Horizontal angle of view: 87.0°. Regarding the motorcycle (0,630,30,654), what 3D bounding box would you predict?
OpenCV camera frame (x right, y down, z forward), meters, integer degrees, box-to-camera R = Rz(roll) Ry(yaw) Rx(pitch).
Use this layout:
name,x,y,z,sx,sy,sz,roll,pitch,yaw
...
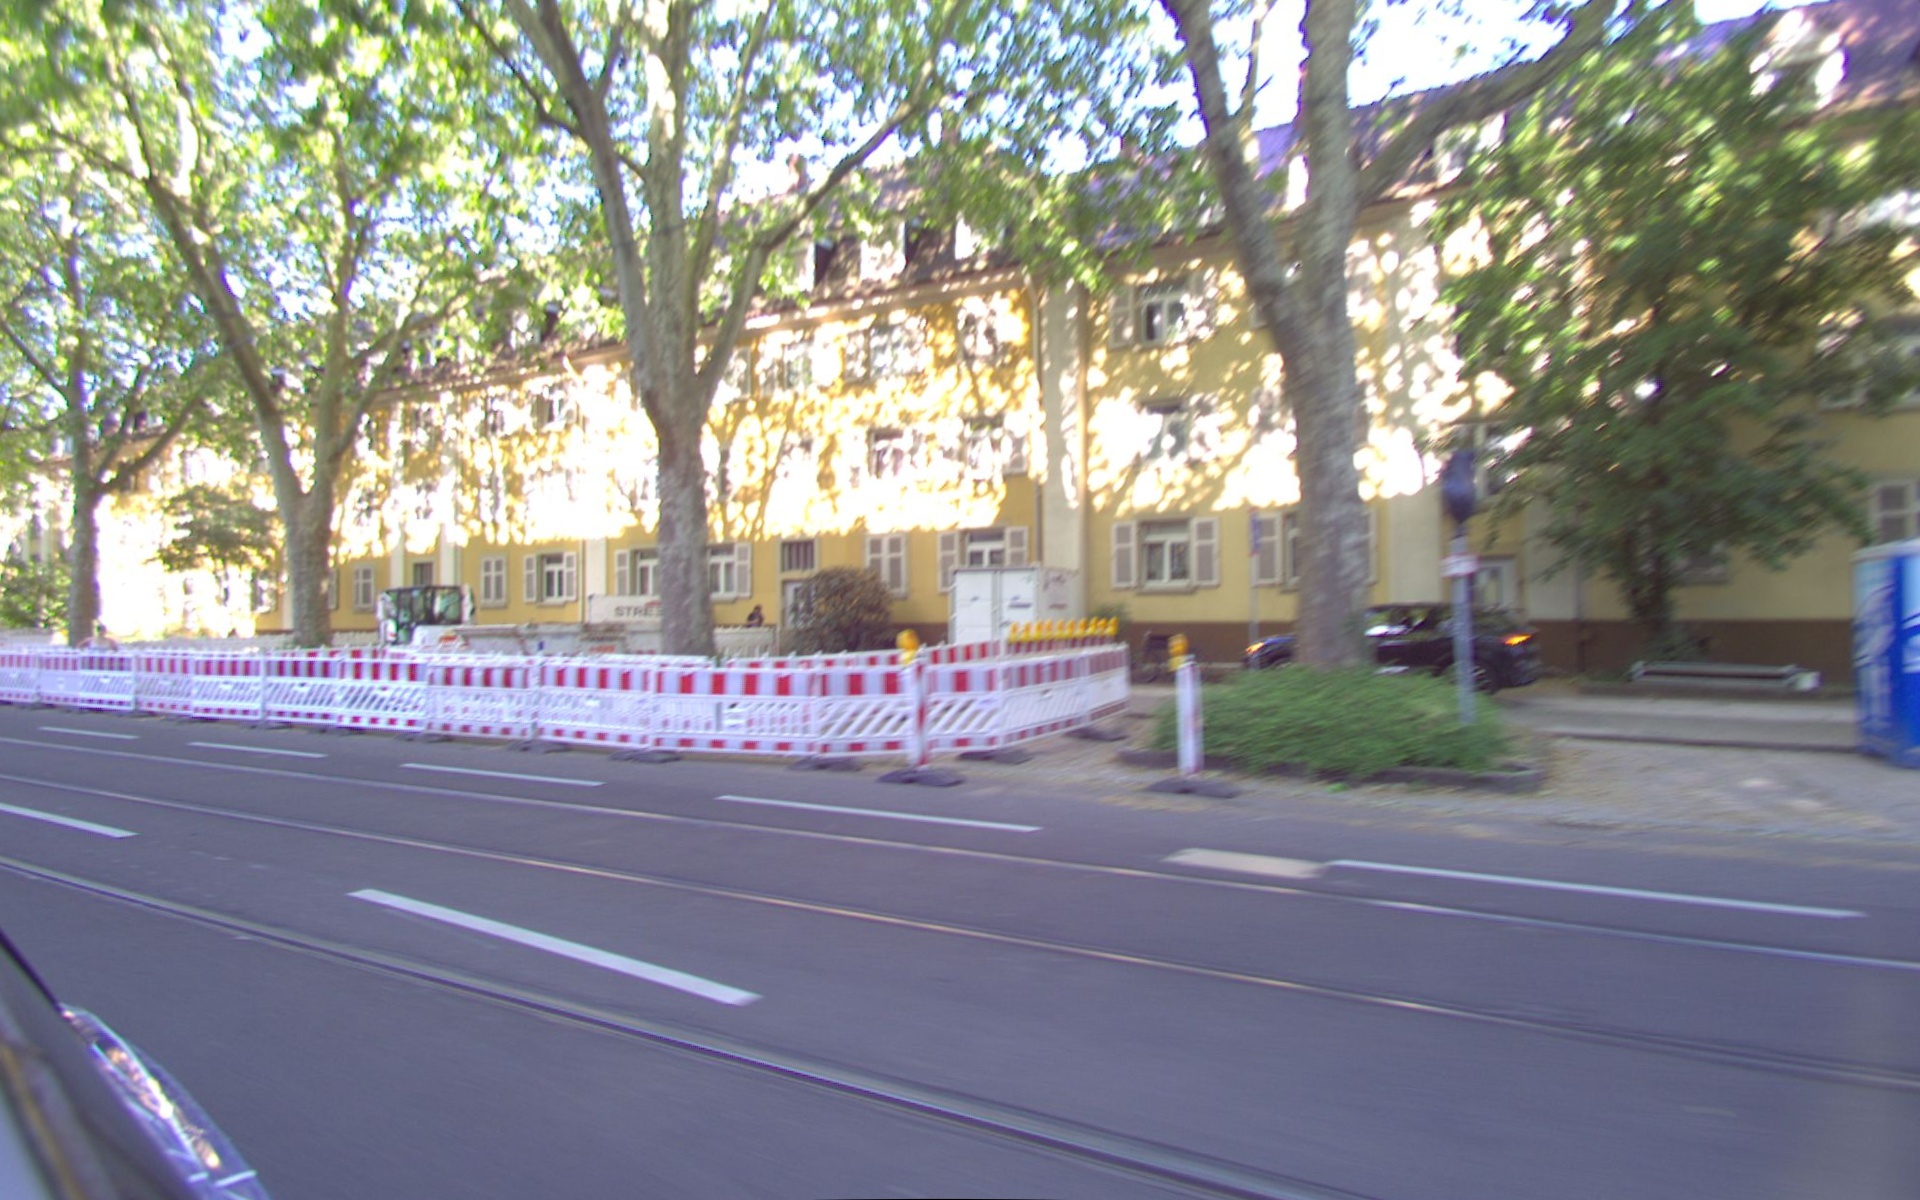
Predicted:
name,x,y,z,sx,sy,sz,roll,pitch,yaw
motorcycle,-49.328,2.164,52.334,0.521,1.250,1.698,-2,-2,30

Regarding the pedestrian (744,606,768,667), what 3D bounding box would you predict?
name,x,y,z,sx,sy,sz,roll,pitch,yaw
pedestrian,-5.652,1.004,28.065,0.661,1.669,0.675,0,-2,-10

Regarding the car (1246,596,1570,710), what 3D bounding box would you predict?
name,x,y,z,sx,sy,sz,roll,pitch,yaw
car,7.108,0.790,16.237,4.508,1.583,1.775,-1,0,34

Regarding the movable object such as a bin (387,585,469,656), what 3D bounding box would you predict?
name,x,y,z,sx,sy,sz,roll,pitch,yaw
movable object such as a bin,-12.768,0.488,24.296,1.553,1.658,1.090,-1,-1,29

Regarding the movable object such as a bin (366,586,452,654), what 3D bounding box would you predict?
name,x,y,z,sx,sy,sz,roll,pitch,yaw
movable object such as a bin,-15.851,0.567,29.113,1.999,1.883,1.325,-1,-1,29

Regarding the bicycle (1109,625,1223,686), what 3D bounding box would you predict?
name,x,y,z,sx,sy,sz,roll,pitch,yaw
bicycle,3.996,1.066,19.715,2.106,1.149,0.621,-1,-2,33

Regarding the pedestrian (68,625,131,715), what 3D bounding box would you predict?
name,x,y,z,sx,sy,sz,roll,pitch,yaw
pedestrian,-16.637,1.328,19.564,0.775,1.682,0.712,-1,-1,29
